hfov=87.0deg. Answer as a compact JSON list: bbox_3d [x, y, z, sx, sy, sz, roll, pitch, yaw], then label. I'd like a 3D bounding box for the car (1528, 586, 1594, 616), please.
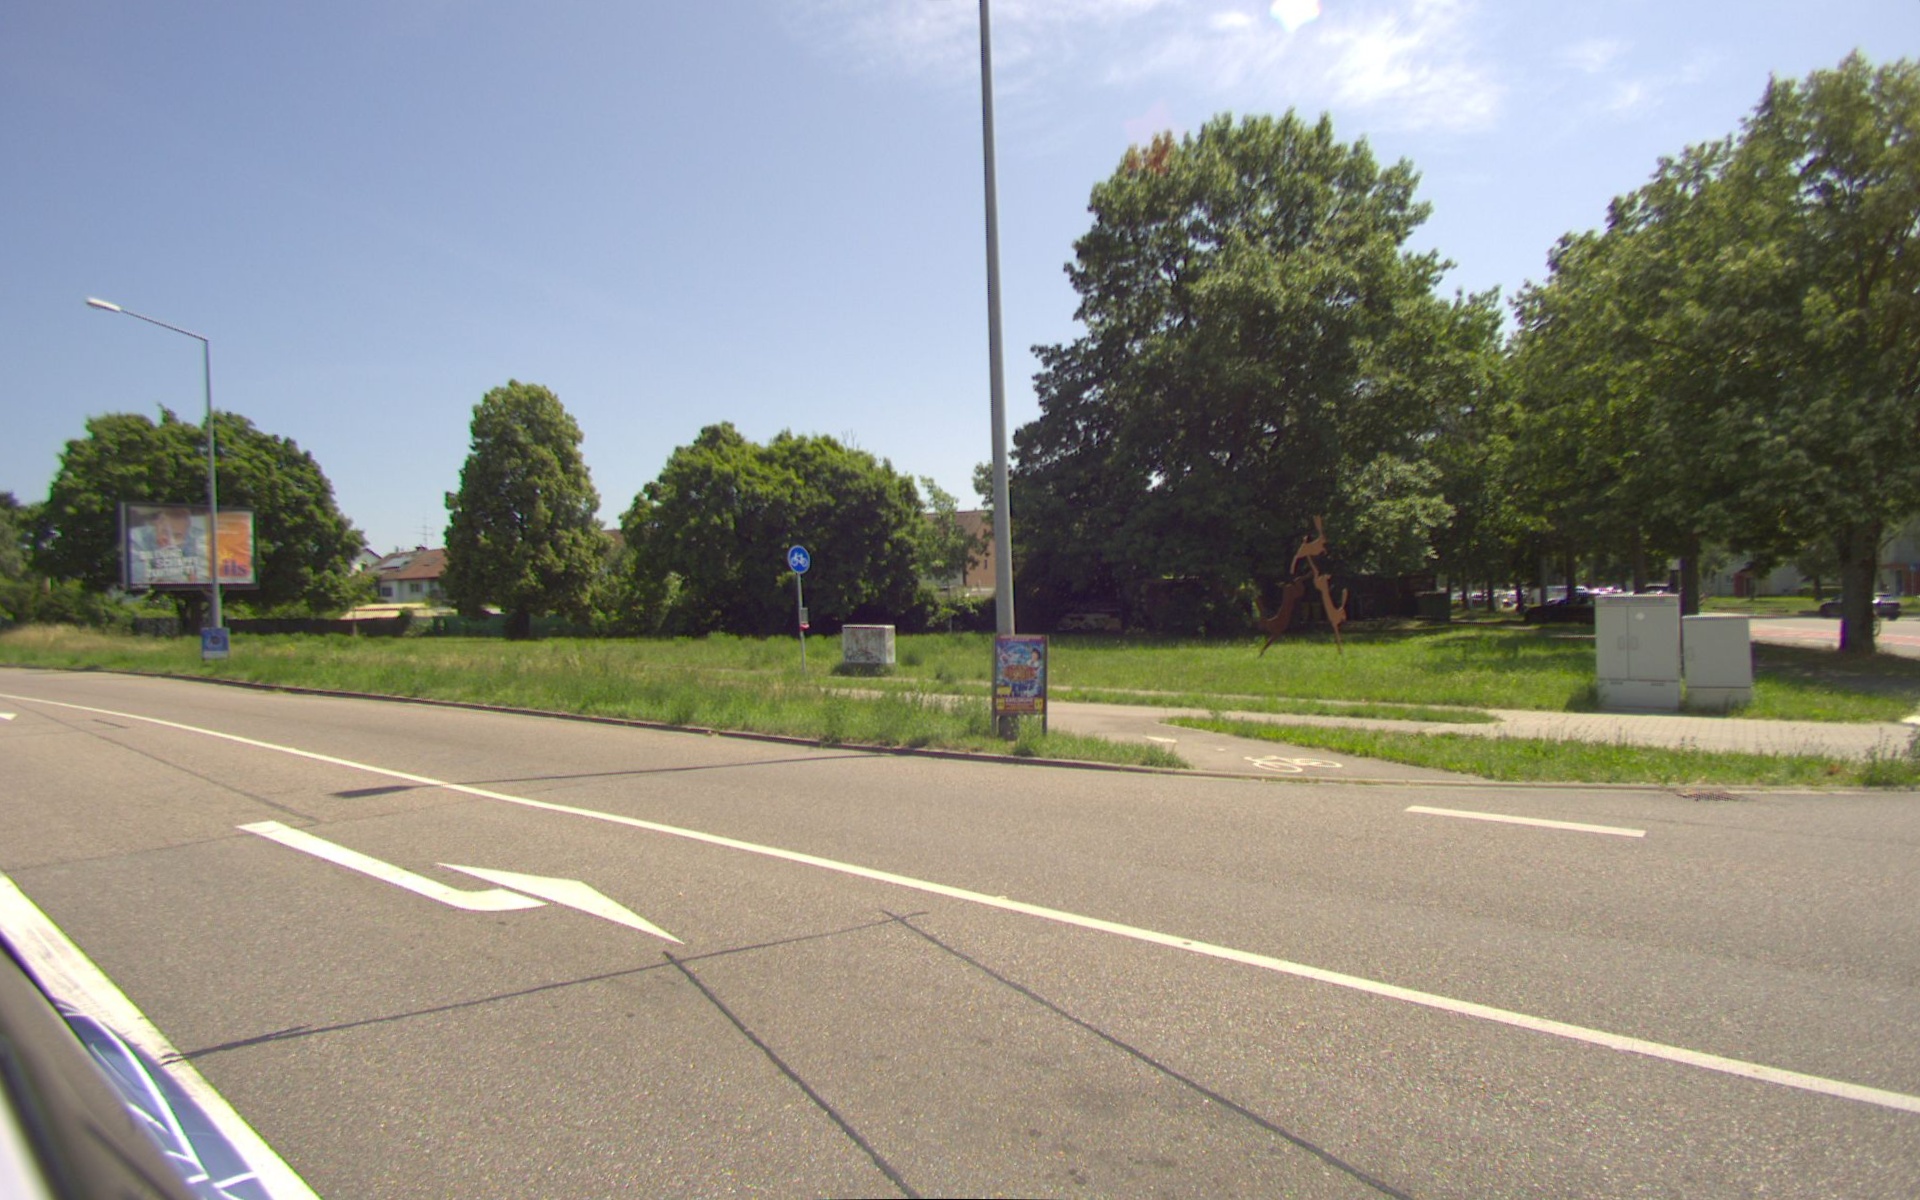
[{"bbox_3d":[45.533,0.081,76.761,3.971,2.028,1.987,-2,3,21],"label":"car"}]

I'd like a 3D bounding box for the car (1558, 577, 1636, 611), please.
[{"bbox_3d":[42.213,-0.406,67.136,3.971,2.028,1.987,-2,3,21],"label":"car"}]

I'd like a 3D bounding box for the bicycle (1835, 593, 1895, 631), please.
[{"bbox_3d":[32.007,0.422,35.819,0.767,1.309,2.049,-2,-1,18],"label":"bicycle"}]

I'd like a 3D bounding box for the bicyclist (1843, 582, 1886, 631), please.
[{"bbox_3d":[31.995,0.225,35.810,0.767,1.705,0.892,-2,-1,18],"label":"bicyclist"}]

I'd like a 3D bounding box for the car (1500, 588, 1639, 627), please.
[{"bbox_3d":[25.715,0.349,42.849,1.966,1.479,4.597,-1,-1,-32],"label":"car"}]

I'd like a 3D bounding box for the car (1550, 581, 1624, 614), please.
[{"bbox_3d":[43.069,-0.173,69.585,3.971,2.028,1.987,-2,3,21],"label":"car"}]

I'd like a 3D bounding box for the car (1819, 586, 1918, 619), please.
[{"bbox_3d":[45.453,0.126,50.787,1.897,1.510,4.603,-2,0,17],"label":"car"}]
